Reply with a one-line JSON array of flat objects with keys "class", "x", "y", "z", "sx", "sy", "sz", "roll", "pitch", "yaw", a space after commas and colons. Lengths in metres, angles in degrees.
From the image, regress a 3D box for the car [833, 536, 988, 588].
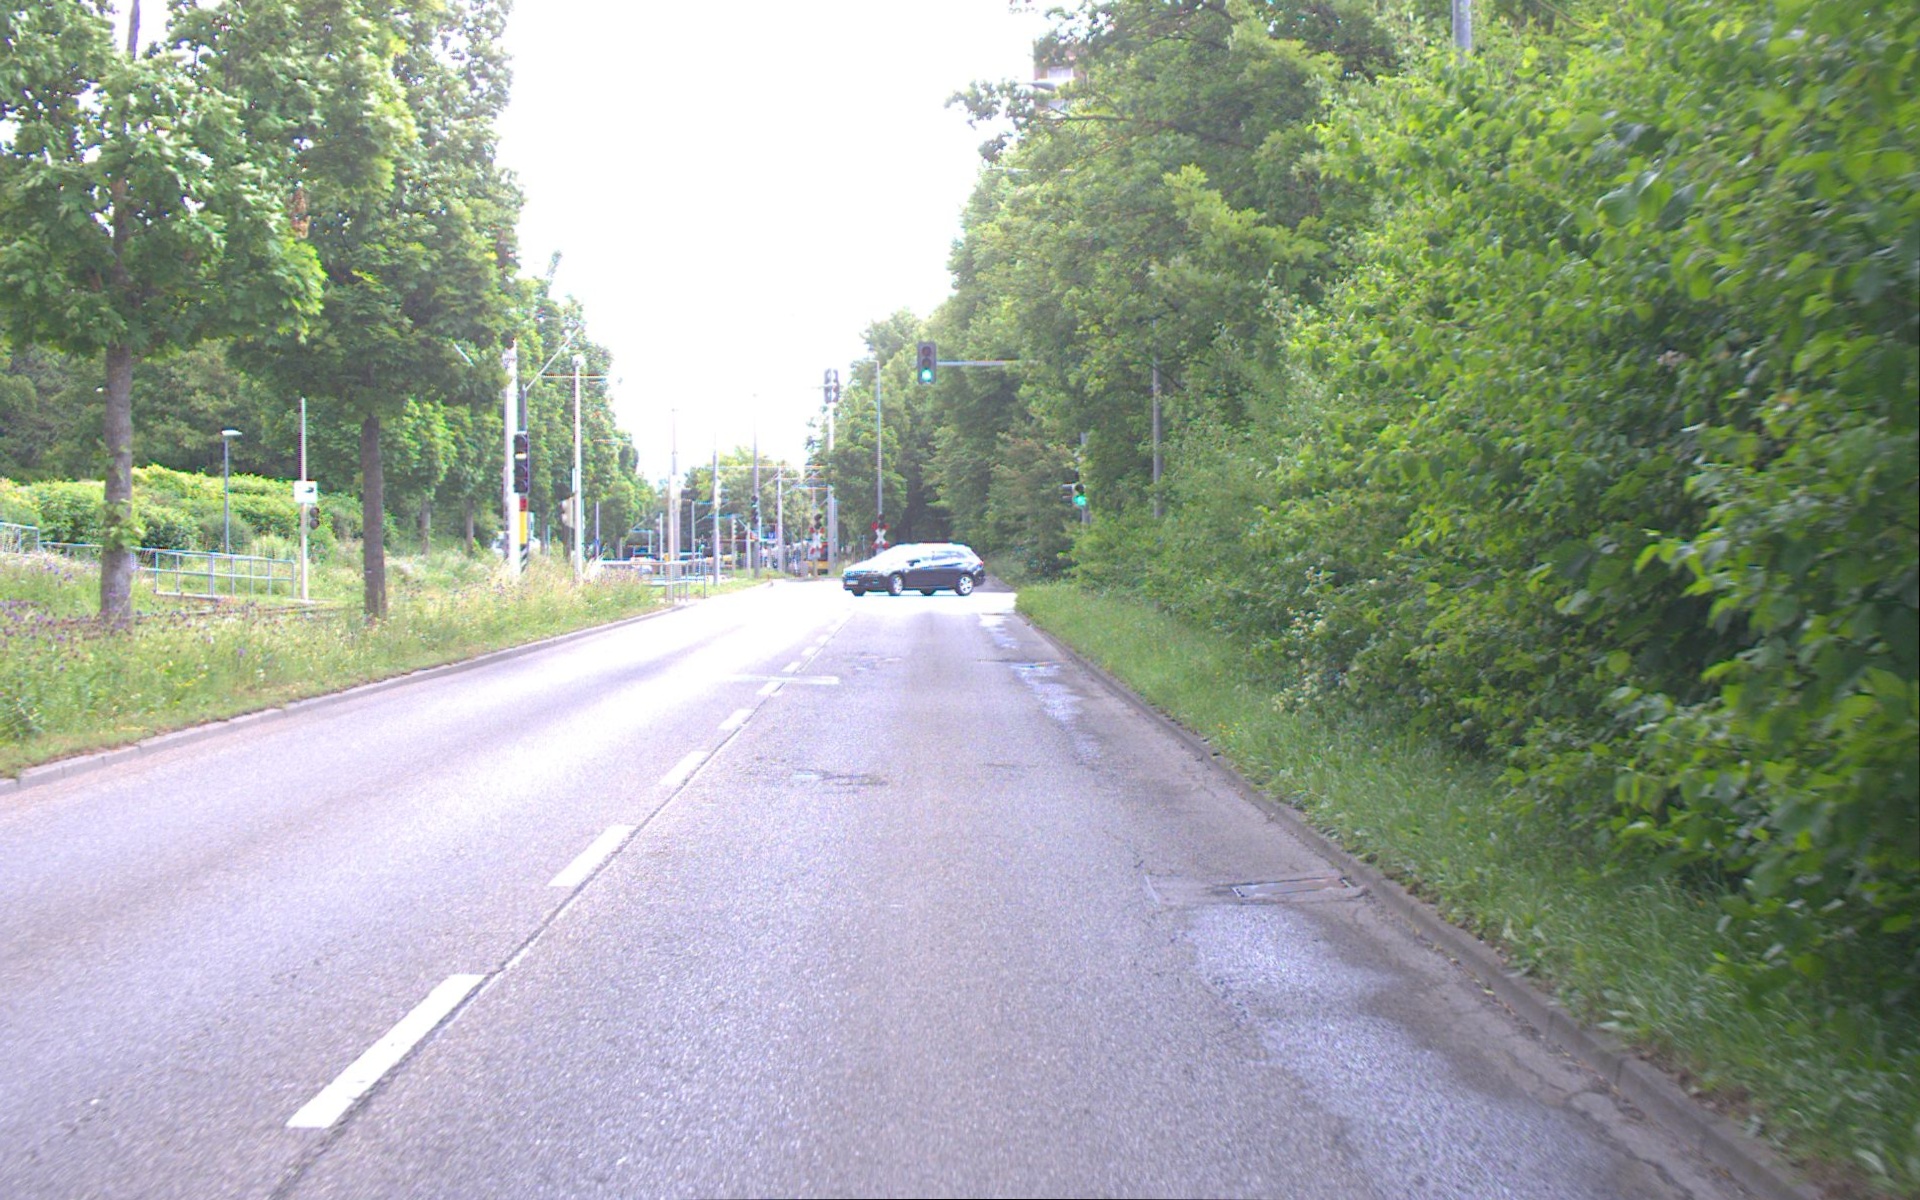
[{"class": "car", "x": -1.413, "y": -1.095, "z": 99.040, "sx": 4.244, "sy": 1.465, "sz": 1.855, "roll": 0, "pitch": 1, "yaw": -41}]
